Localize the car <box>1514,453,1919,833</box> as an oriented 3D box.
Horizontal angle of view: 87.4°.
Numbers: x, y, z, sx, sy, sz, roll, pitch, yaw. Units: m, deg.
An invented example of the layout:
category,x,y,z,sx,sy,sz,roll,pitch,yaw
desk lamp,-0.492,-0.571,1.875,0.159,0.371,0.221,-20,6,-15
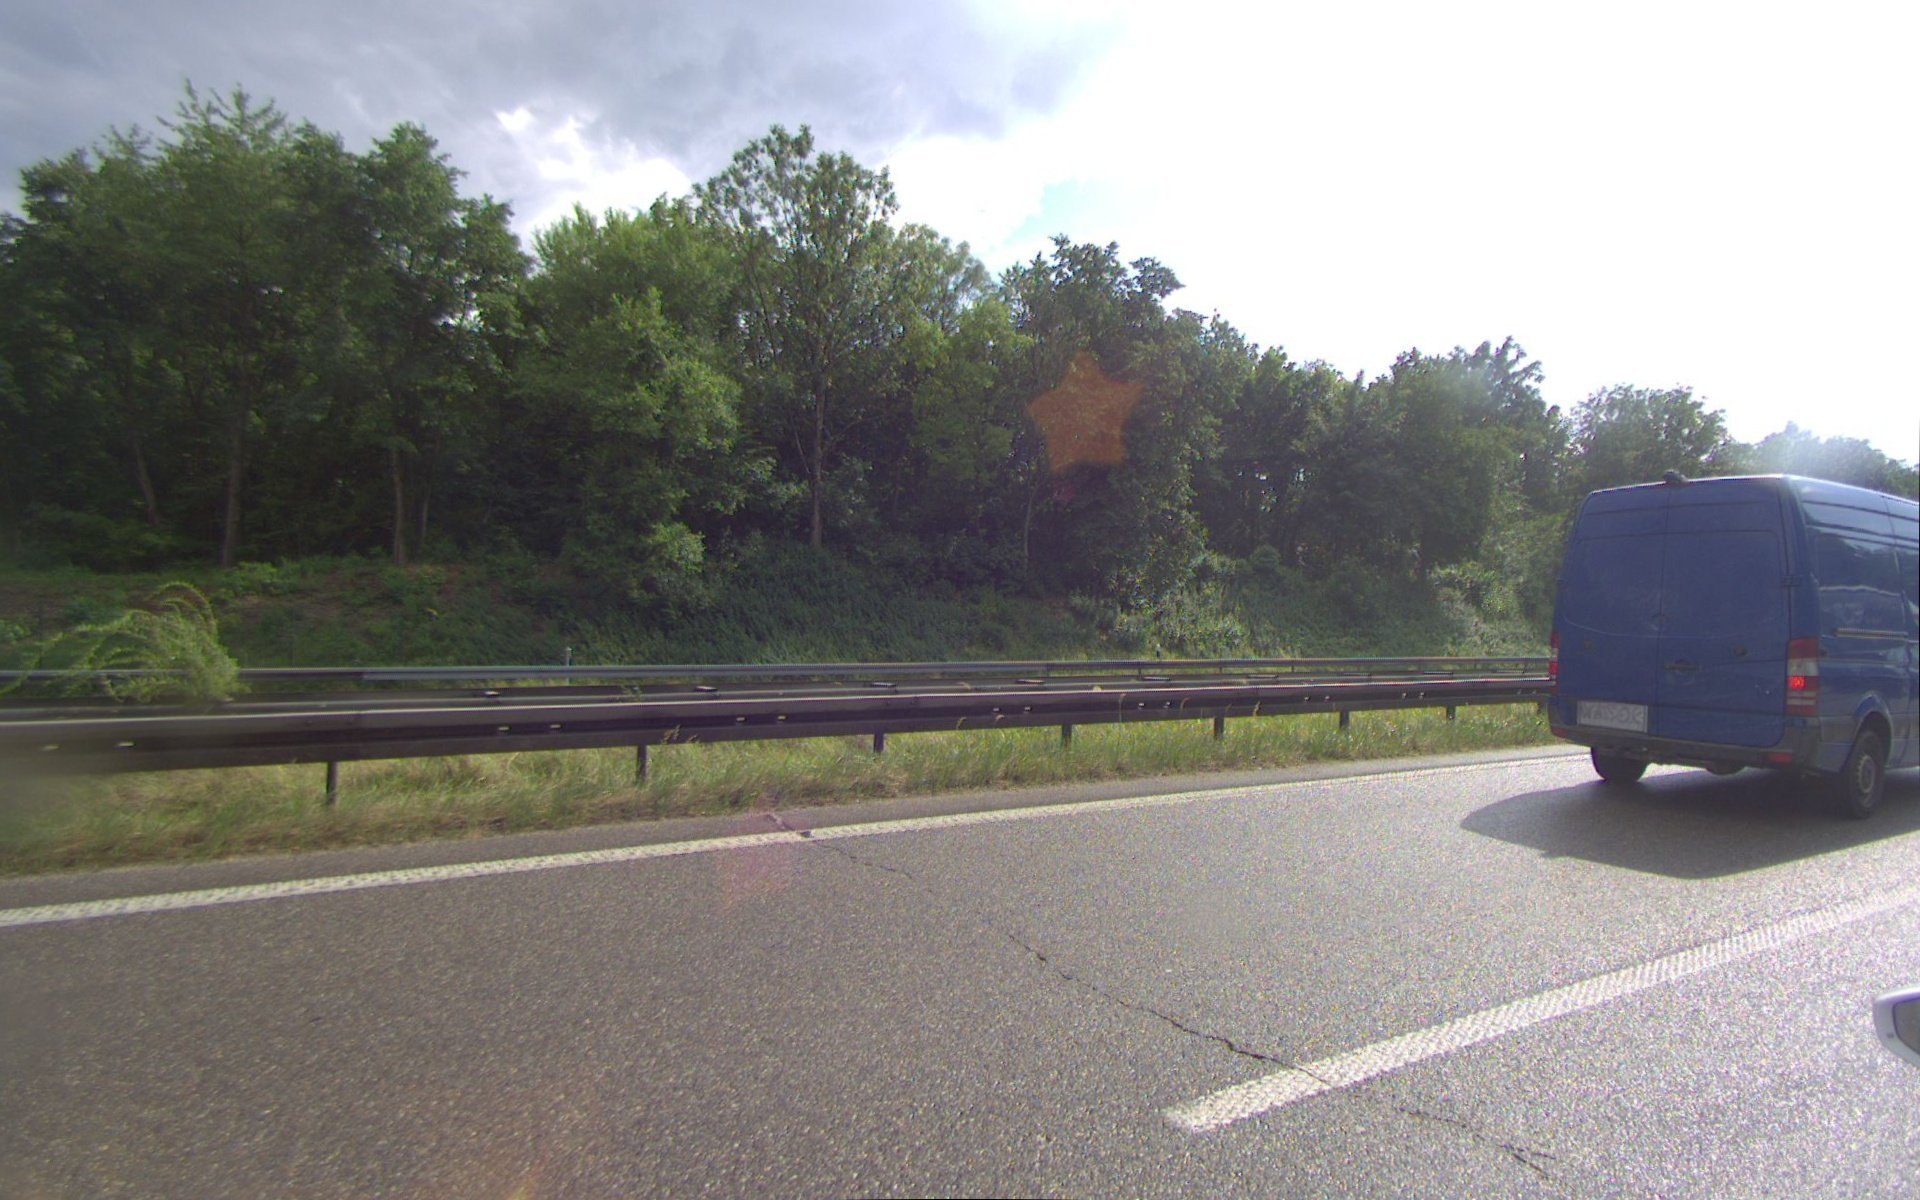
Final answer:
category,x,y,z,sx,sy,sz,roll,pitch,yaw
car,7.838,0.366,9.422,5.710,2.684,2.005,1,0,-31
